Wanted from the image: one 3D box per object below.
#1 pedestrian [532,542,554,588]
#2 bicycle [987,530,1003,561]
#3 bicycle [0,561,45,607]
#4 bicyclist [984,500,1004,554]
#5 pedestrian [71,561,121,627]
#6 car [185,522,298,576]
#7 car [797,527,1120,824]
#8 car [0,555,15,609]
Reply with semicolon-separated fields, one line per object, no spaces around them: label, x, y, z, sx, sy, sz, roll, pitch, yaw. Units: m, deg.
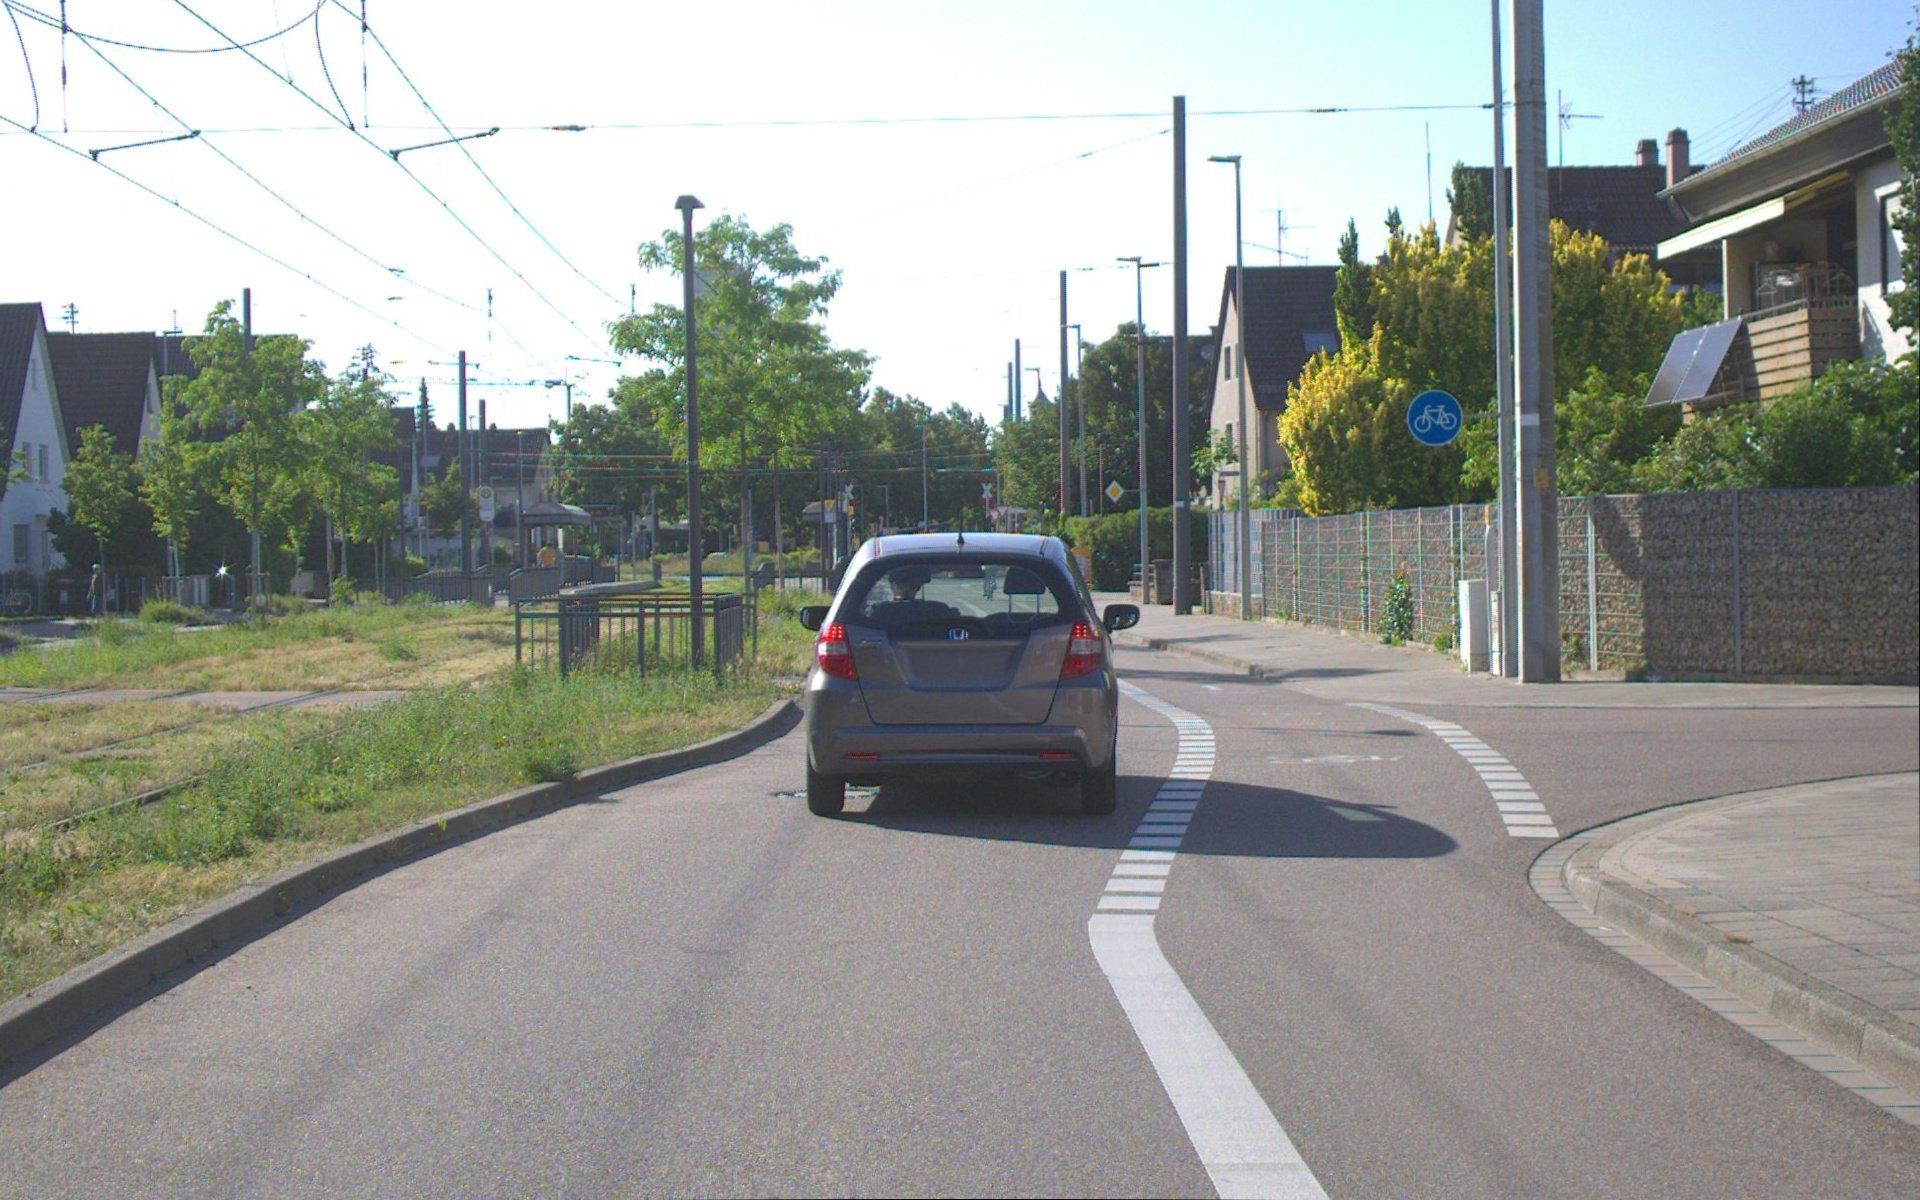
pedestrian;-14.189;-1.196;116.930;0.675;1.530;0.749;-1;1;-5
bicycle;1.099;-1.725;108.624;0.475;0.958;1.657;0;0;-1
bicycle;-28.450;-0.482;102.862;1.988;1.361;0.705;-1;1;-8
bicyclist;1.065;-2.295;108.454;0.598;1.695;0.683;0;0;-1
pedestrian;-21.730;-0.158;86.487;0.965;1.635;1.086;-1;1;-1
car;-26.631;-1.880;127.577;3.986;1.963;1.933;0;0;-9
car;0.039;0.361;19.500;1.670;1.530;3.487;0;1;2
car;-26.696;-0.455;91.195;1.934;1.445;5.163;-1;1;-1
